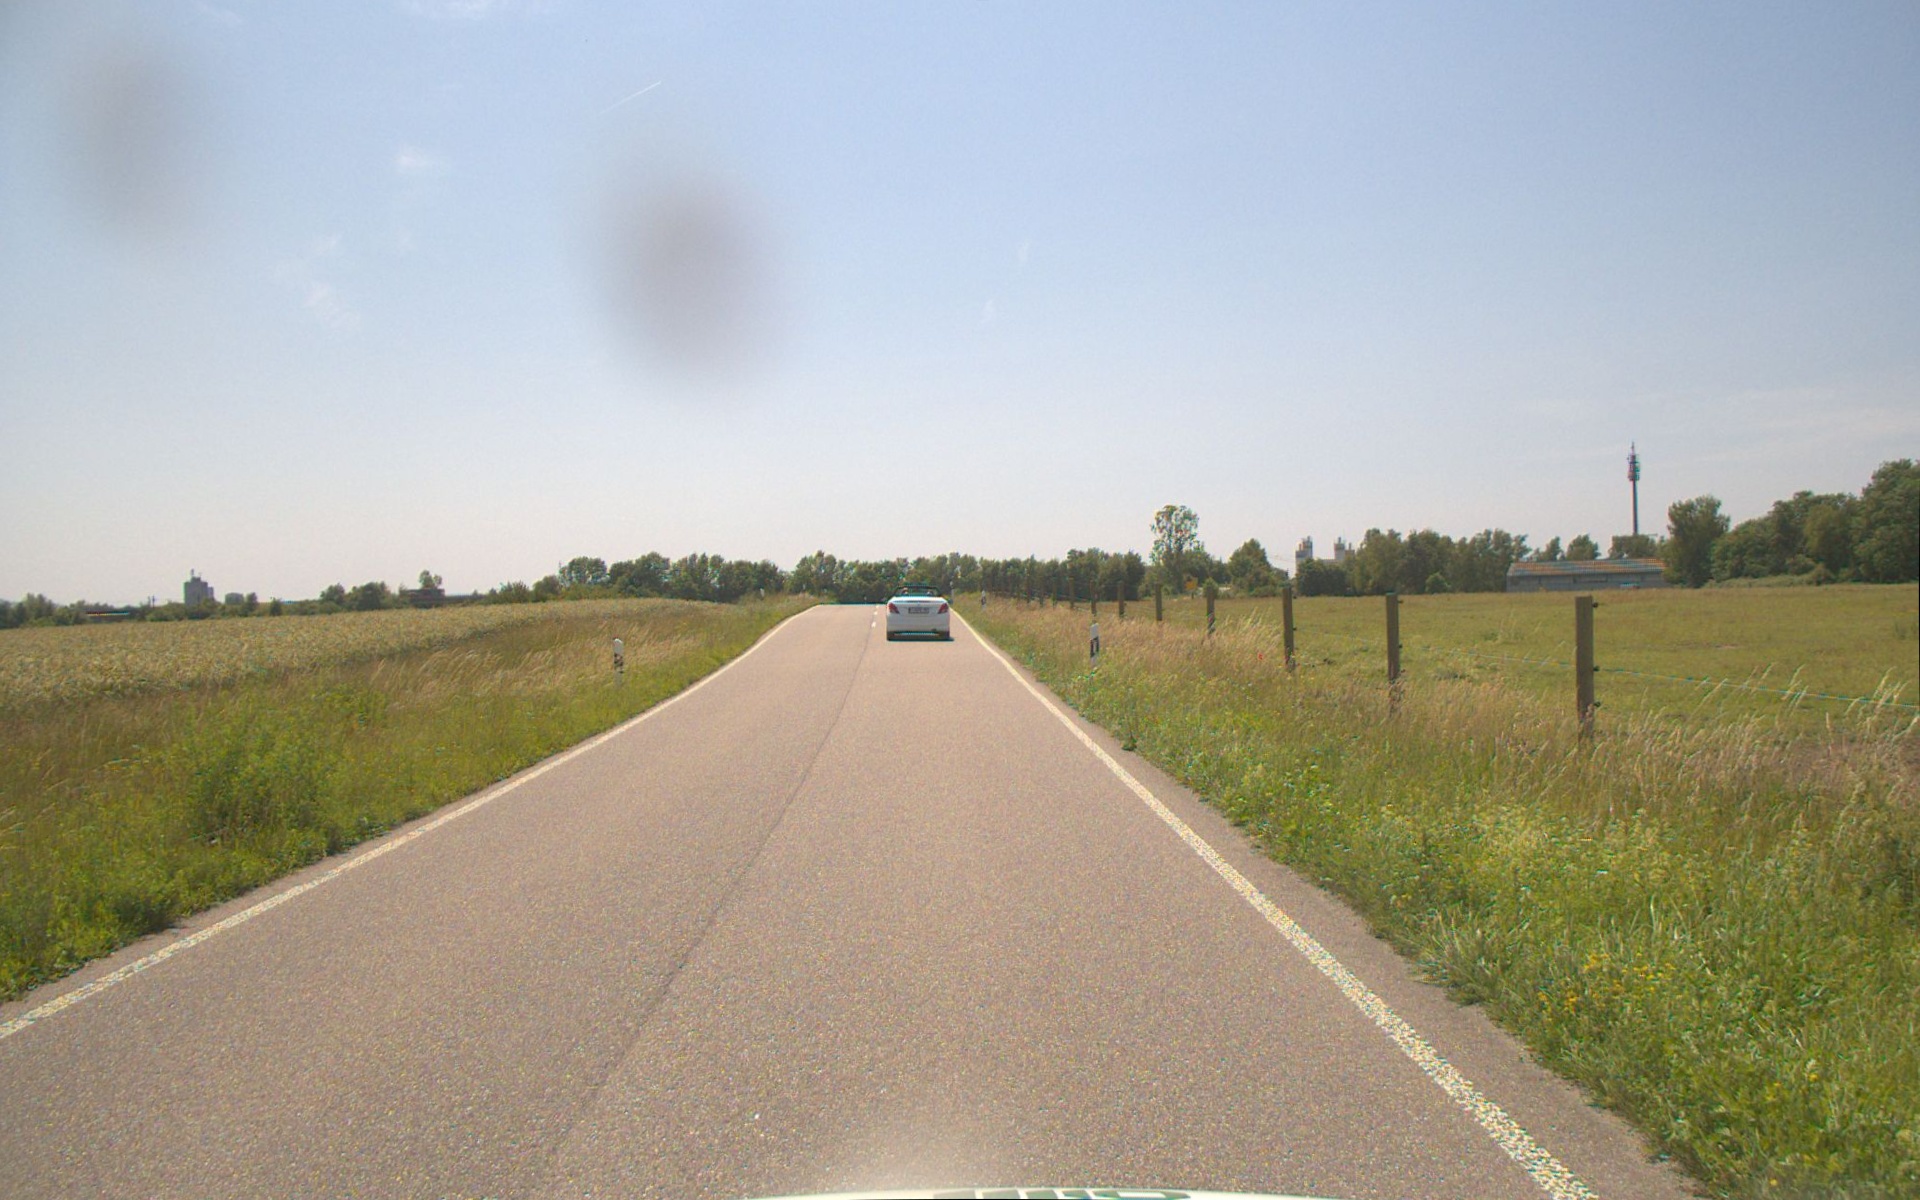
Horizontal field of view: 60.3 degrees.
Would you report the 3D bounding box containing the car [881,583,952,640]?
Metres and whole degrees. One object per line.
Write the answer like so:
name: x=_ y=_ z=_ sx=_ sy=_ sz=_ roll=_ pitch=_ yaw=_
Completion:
car: x=-1.202 y=0.275 z=44.429 sx=1.814 sy=1.403 sz=3.998 roll=0 pitch=1 yaw=-3
